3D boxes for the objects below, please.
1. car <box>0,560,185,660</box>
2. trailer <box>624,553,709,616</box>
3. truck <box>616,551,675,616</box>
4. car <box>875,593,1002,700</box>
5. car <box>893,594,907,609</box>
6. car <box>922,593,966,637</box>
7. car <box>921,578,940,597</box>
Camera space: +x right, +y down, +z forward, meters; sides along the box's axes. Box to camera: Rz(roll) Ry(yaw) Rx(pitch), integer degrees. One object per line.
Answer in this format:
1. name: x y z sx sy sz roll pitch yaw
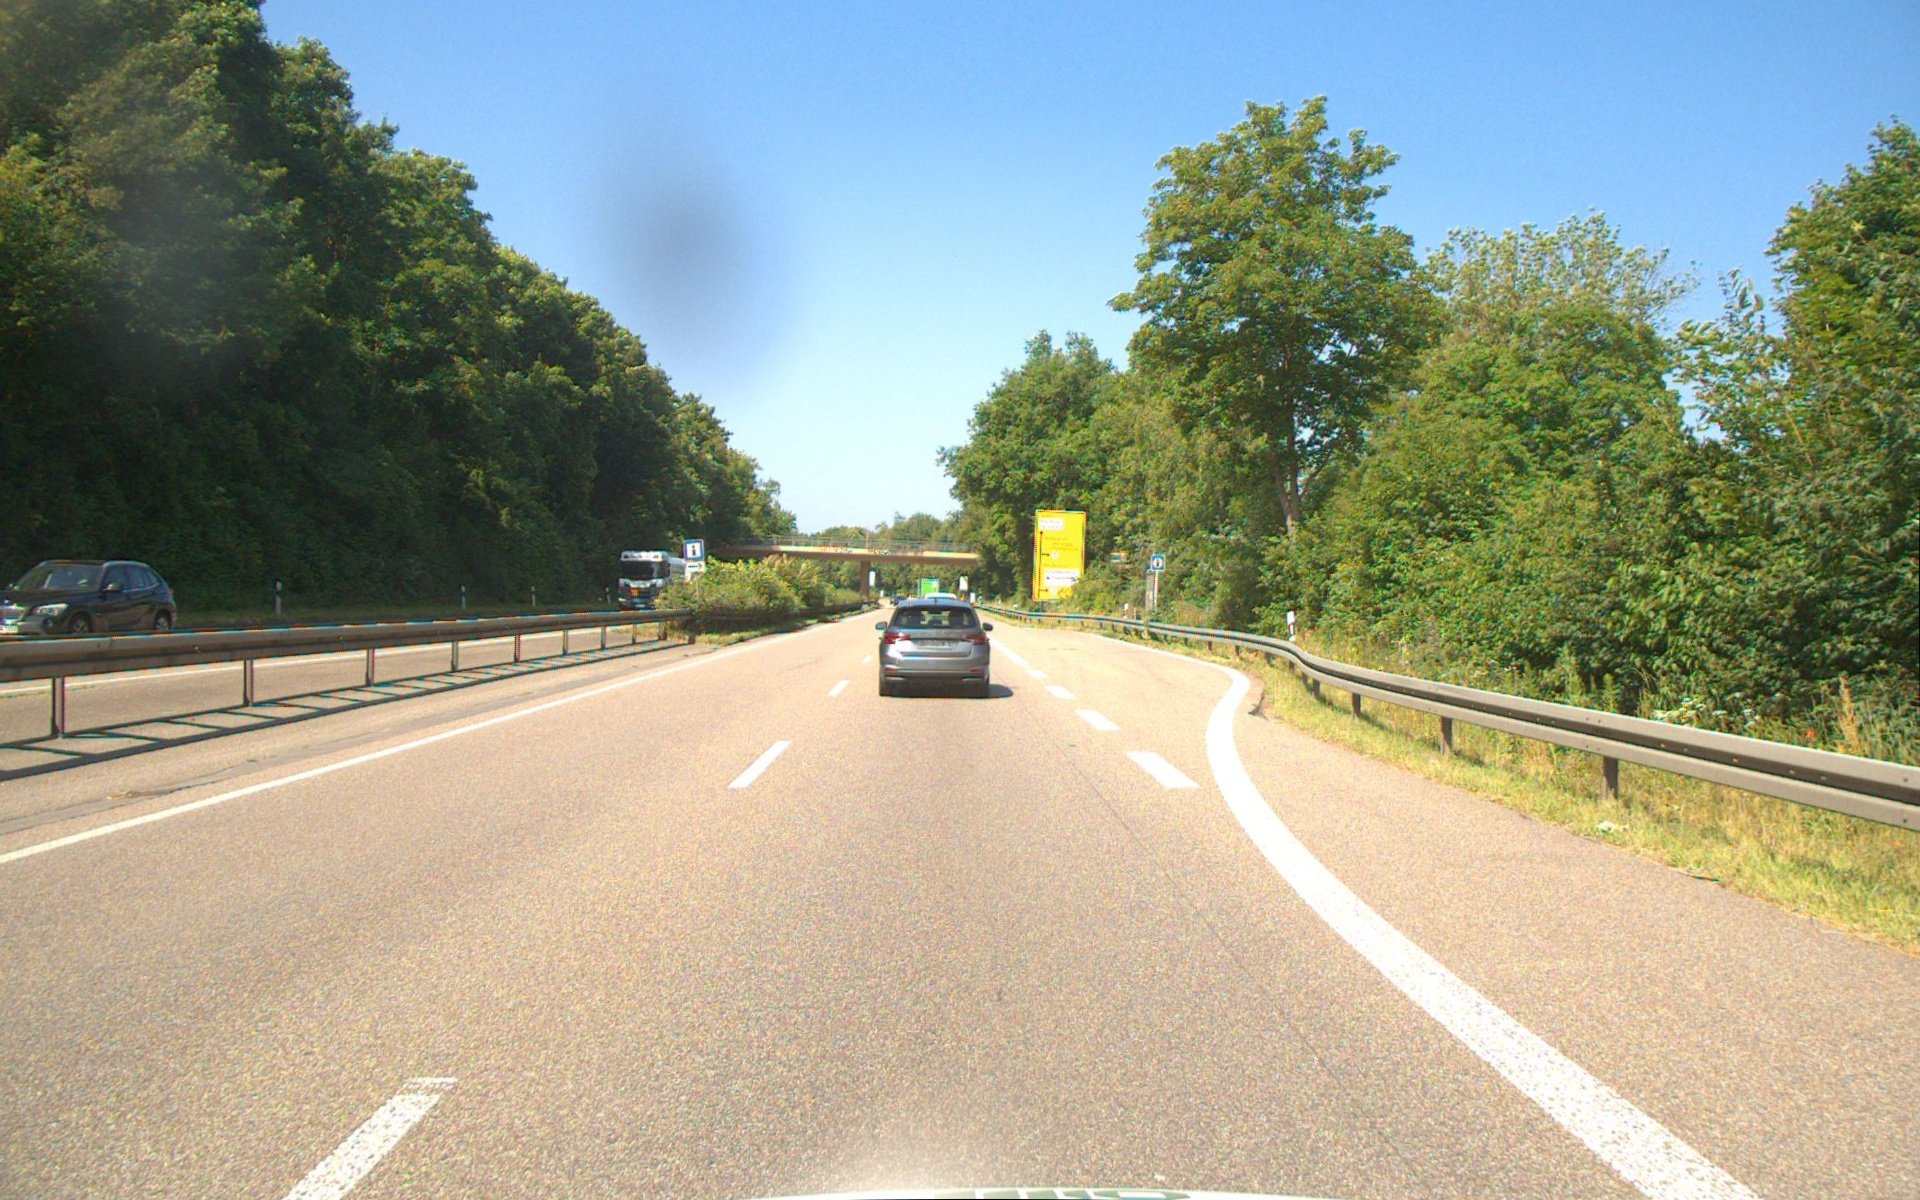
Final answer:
1. car: -15.168 0.151 28.043 1.804 1.536 4.551 1 0 1
2. trailer: -16.773 -0.821 95.533 2.442 3.292 14.429 1 0 -1
3. truck: -16.698 -0.857 88.049 2.376 3.315 3.999 1 0 -1
4. car: -0.287 0.667 25.652 1.802 1.497 3.624 1 0 1
5. car: -8.479 0.190 233.551 1.953 2.049 3.999 1 0 -1
6. car: -0.545 0.499 58.616 1.491 1.472 3.340 1 0 1
7. car: -4.269 -1.801 240.953 2.693 2.700 3.999 1 0 -1
